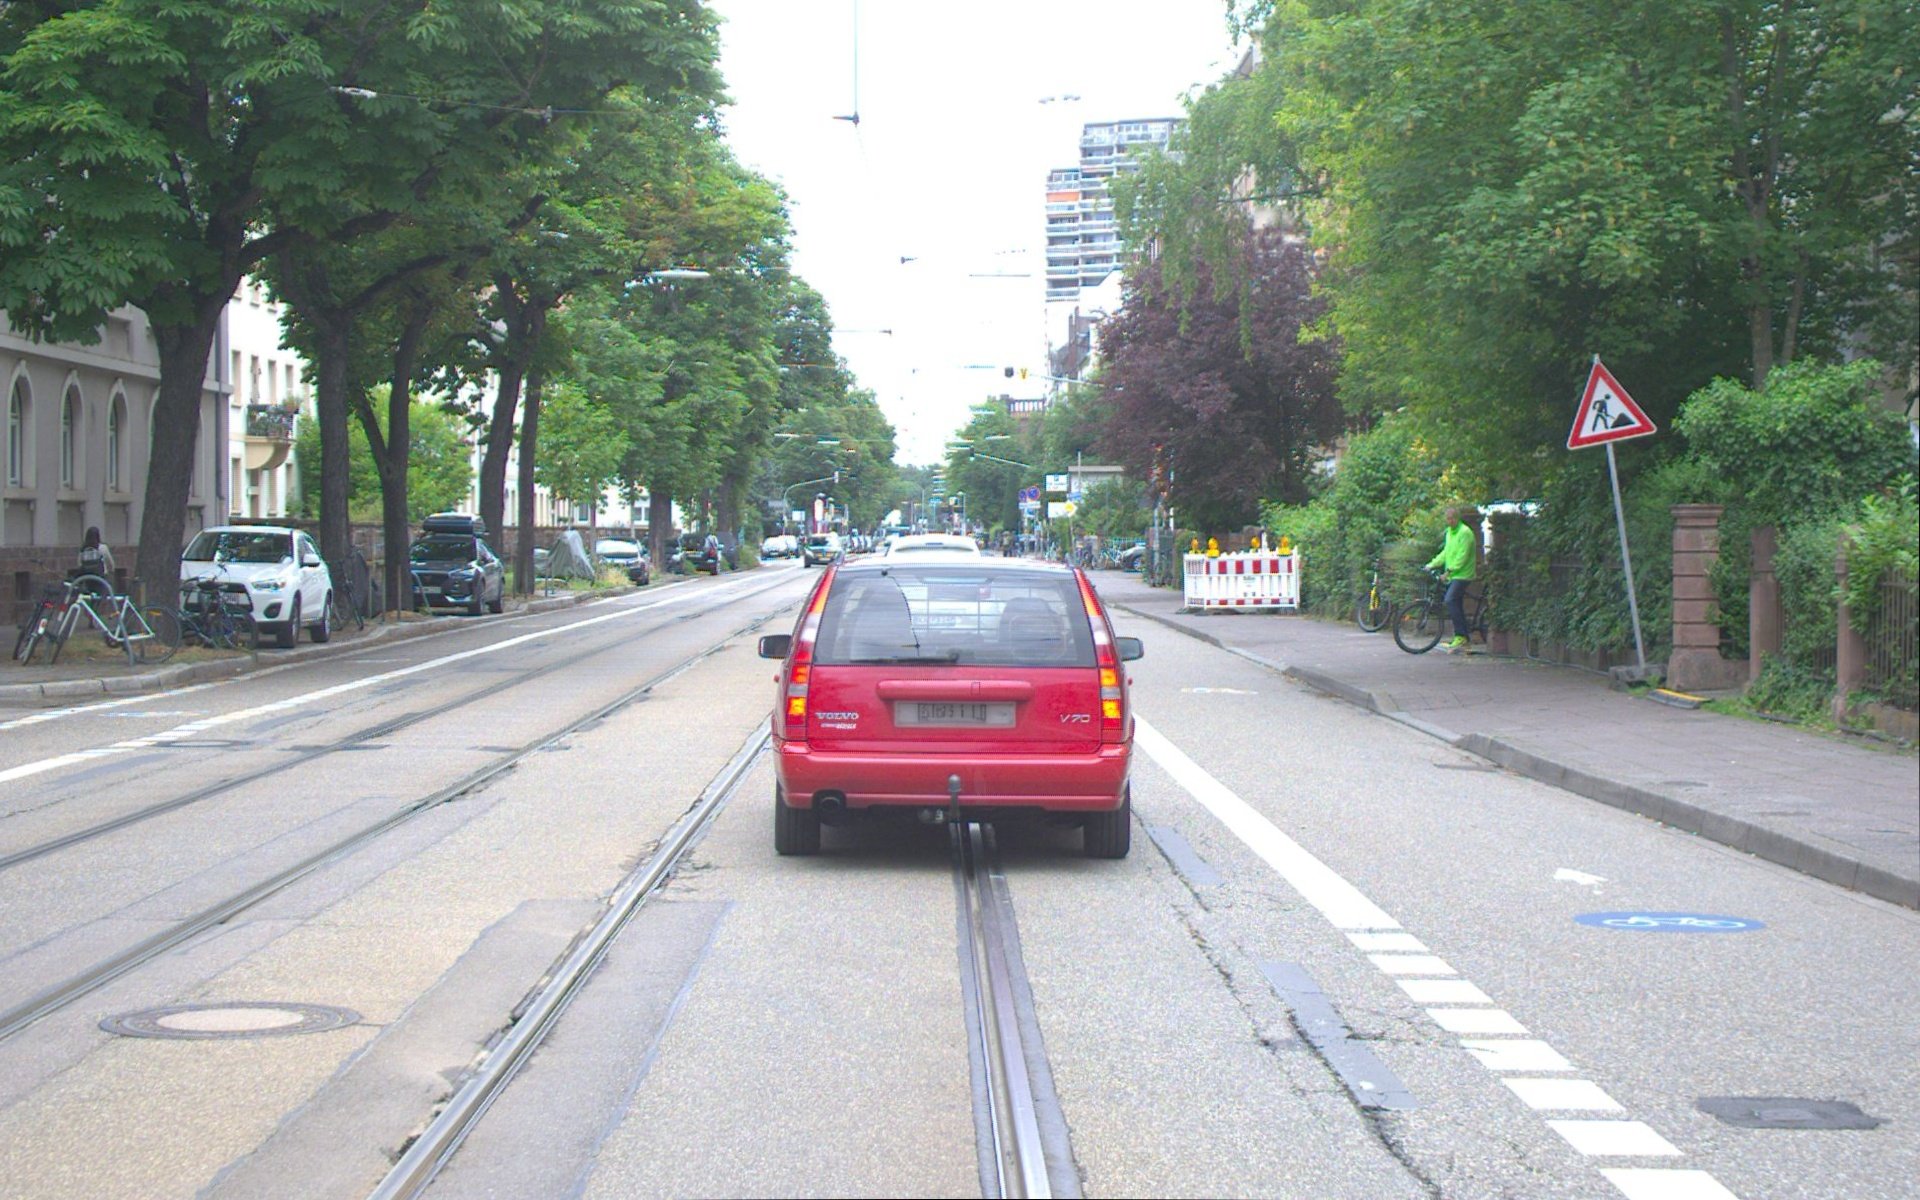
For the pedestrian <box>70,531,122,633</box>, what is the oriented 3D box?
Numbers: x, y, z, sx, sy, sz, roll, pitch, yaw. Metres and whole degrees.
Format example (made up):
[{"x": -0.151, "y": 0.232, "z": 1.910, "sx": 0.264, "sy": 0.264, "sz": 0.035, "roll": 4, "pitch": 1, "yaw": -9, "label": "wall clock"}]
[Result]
[{"x": -12.497, "y": -0.269, "z": 49.739, "sx": 0.564, "sy": 1.462, "sz": 0.723, "roll": 0, "pitch": 1, "yaw": 0, "label": "pedestrian"}]

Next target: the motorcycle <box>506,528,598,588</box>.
[{"x": -10.417, "y": -1.072, "z": 87.750, "sx": 2.269, "sy": 1.506, "sz": 0.925, "roll": 1, "pitch": 0, "yaw": 35, "label": "motorcycle"}]

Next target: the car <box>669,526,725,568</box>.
[{"x": -10.139, "y": -2.053, "z": 132.700, "sx": 1.851, "sy": 1.557, "sz": 3.943, "roll": 1, "pitch": 1, "yaw": -1, "label": "car"}]

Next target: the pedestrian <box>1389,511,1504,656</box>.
[{"x": 5.901, "y": -0.211, "z": 41.766, "sx": 1.228, "sy": 1.727, "sz": 1.018, "roll": 0, "pitch": 1, "yaw": -1, "label": "pedestrian"}]

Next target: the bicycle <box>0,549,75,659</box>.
[{"x": -10.325, "y": 0.030, "z": 38.340, "sx": 0.674, "sy": 1.132, "sz": 1.937, "roll": -1, "pitch": 3, "yaw": -21, "label": "bicycle"}]

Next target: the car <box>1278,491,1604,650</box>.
[{"x": 6.346, "y": -0.400, "z": 45.653, "sx": 3.987, "sy": 1.852, "sz": 1.809, "roll": -3, "pitch": 1, "yaw": 0, "label": "car"}]

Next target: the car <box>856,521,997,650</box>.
[{"x": -0.403, "y": -0.221, "z": 45.748, "sx": 1.719, "sy": 1.619, "sz": 3.941, "roll": 1, "pitch": 1, "yaw": 1, "label": "car"}]

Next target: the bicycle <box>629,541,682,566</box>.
[{"x": -10.454, "y": -1.590, "z": 117.984, "sx": 1.749, "sy": 0.841, "sz": 0.684, "roll": 1, "pitch": 1, "yaw": 1, "label": "bicycle"}]

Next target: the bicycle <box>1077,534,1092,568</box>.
[{"x": 5.219, "y": -2.048, "z": 143.853, "sx": 0.551, "sy": 1.395, "sz": 1.734, "roll": 0, "pitch": 1, "yaw": 0, "label": "bicycle"}]

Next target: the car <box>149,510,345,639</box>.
[{"x": -9.686, "y": -0.378, "z": 46.997, "sx": 1.897, "sy": 1.650, "sz": 4.226, "roll": 1, "pitch": 1, "yaw": -2, "label": "car"}]

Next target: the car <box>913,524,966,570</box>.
[{"x": -0.748, "y": -1.927, "z": 123.575, "sx": 1.741, "sy": 1.600, "sz": 4.001, "roll": 1, "pitch": 1, "yaw": -3, "label": "car"}]

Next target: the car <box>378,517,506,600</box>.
[{"x": -9.869, "y": -0.821, "z": 65.769, "sx": 1.777, "sy": 1.505, "sz": 4.238, "roll": 1, "pitch": 1, "yaw": 0, "label": "car"}]

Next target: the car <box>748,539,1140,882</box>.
[{"x": -0.092, "y": 0.454, "z": 16.990, "sx": 1.689, "sy": 1.436, "sz": 3.743, "roll": 1, "pitch": 1, "yaw": -1, "label": "car"}]

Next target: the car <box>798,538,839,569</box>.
[{"x": -6.364, "y": -2.091, "z": 154.630, "sx": 1.755, "sy": 1.375, "sz": 4.027, "roll": 0, "pitch": 1, "yaw": -1, "label": "car"}]

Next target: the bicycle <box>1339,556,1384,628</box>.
[{"x": 5.943, "y": -0.128, "z": 50.973, "sx": 0.479, "sy": 1.041, "sz": 1.531, "roll": 0, "pitch": 1, "yaw": 0, "label": "bicycle"}]

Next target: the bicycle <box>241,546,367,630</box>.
[{"x": -9.979, "y": -0.189, "z": 52.292, "sx": 1.744, "sy": 1.188, "sz": 0.652, "roll": 2, "pitch": 1, "yaw": 14, "label": "bicycle"}]

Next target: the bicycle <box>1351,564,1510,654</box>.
[{"x": 5.753, "y": 0.106, "z": 42.077, "sx": 1.841, "sy": 1.072, "sz": 0.606, "roll": 0, "pitch": 1, "yaw": -1, "label": "bicycle"}]

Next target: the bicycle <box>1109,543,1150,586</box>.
[{"x": 6.078, "y": -1.280, "z": 123.116, "sx": 0.918, "sy": 1.501, "sz": 2.379, "roll": 1, "pitch": 1, "yaw": 16, "label": "bicycle"}]

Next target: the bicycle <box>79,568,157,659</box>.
[{"x": -9.211, "y": 0.140, "z": 37.644, "sx": 0.483, "sy": 0.955, "sz": 1.398, "roll": 0, "pitch": 1, "yaw": 2, "label": "bicycle"}]

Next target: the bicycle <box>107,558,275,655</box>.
[{"x": -9.582, "y": 0.077, "z": 42.851, "sx": 1.922, "sy": 1.117, "sz": 0.624, "roll": 2, "pitch": 1, "yaw": -1, "label": "bicycle"}]
